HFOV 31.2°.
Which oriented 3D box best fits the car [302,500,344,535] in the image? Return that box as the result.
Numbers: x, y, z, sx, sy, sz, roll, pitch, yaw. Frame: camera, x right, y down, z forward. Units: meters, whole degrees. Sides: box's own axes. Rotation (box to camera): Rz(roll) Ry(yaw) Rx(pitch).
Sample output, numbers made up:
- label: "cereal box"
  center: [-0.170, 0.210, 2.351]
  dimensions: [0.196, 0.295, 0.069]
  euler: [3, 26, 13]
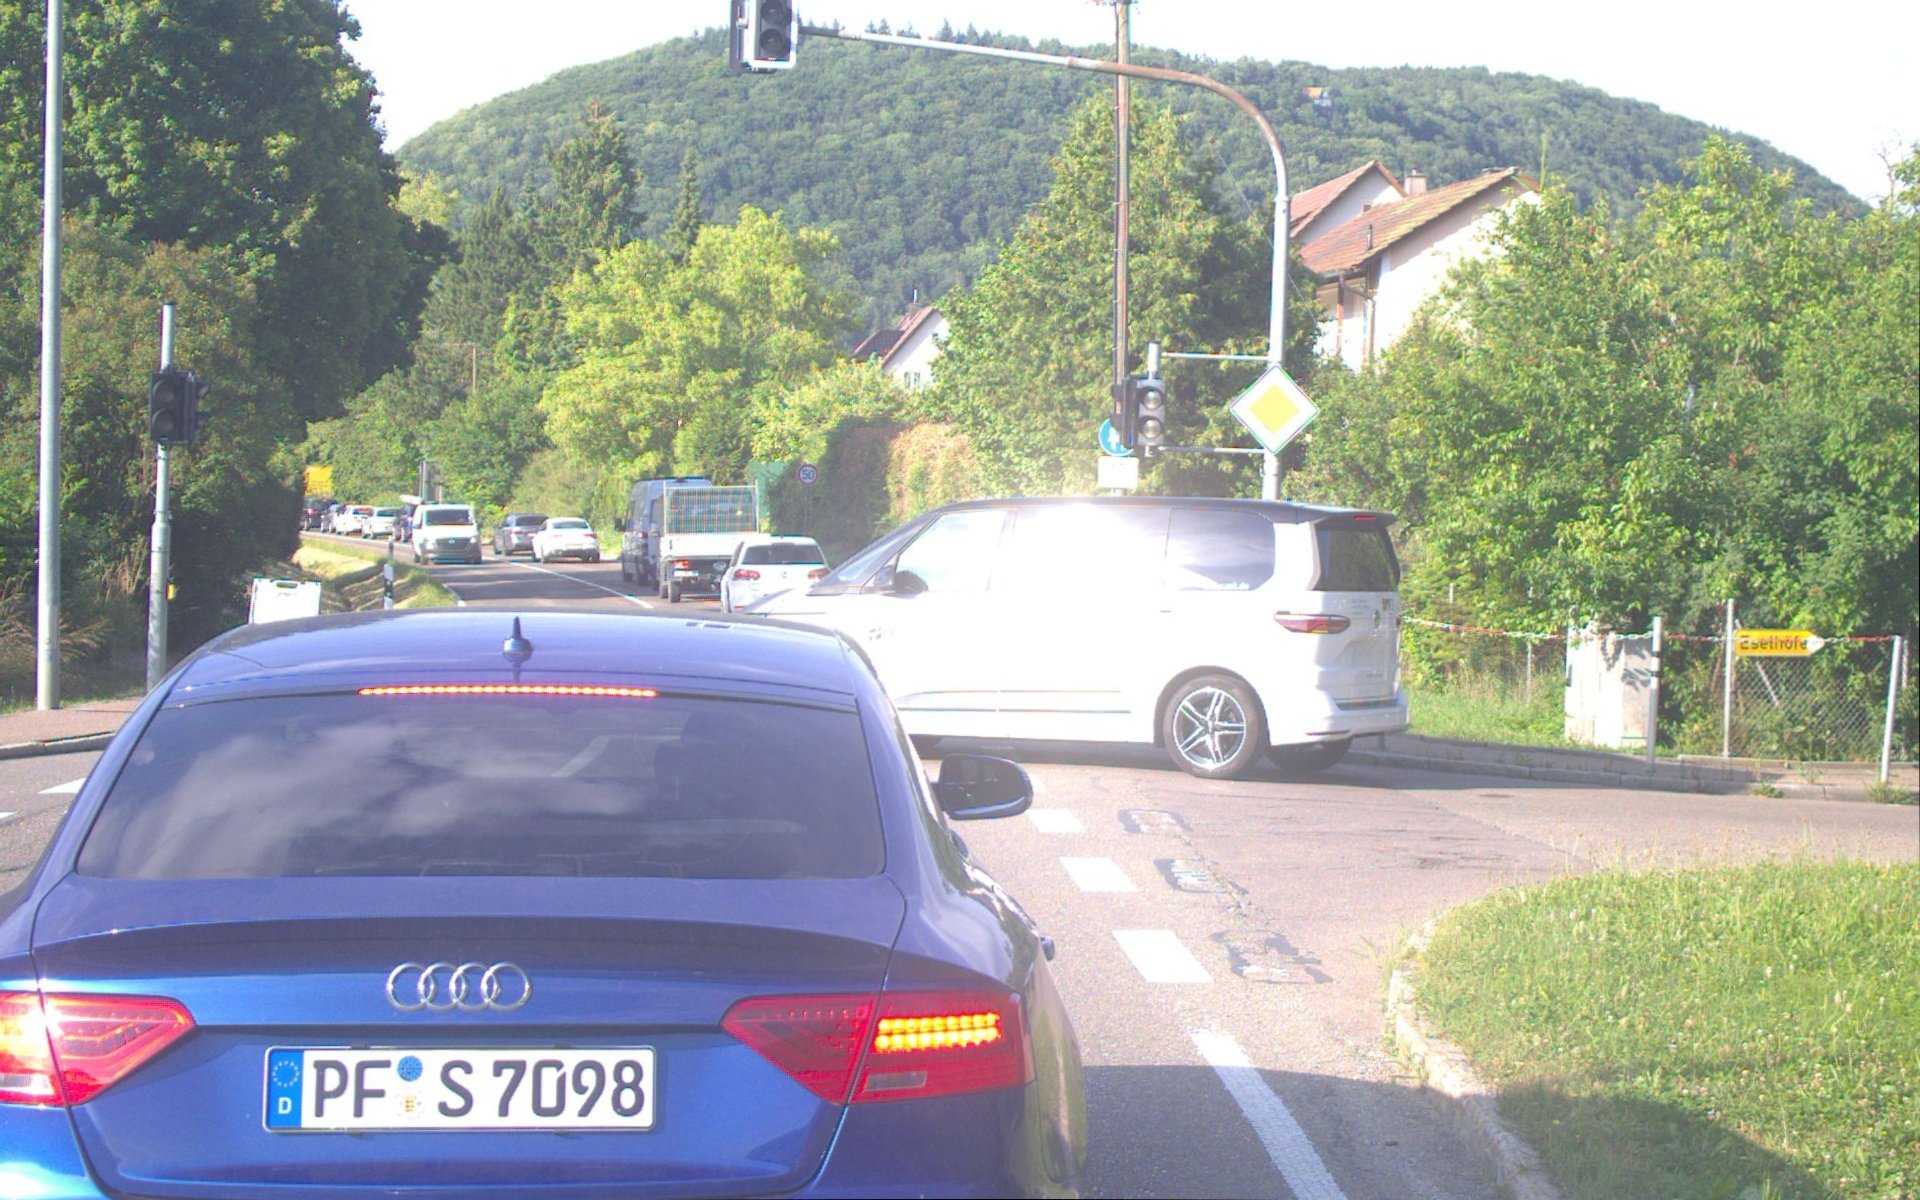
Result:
- label: "car"
  center: [-32.917, -4.249, 177.584]
  dimensions: [1.771, 1.776, 4.001]
  euler: [-1, 1, -16]

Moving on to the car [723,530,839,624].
- label: "car"
  center: [-2.880, -0.406, 55.976]
  dimensions: [1.771, 1.410, 4.174]
  euler: [2, 1, -2]

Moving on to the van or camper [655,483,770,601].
- label: "van or camper"
  center: [-5.231, -1.239, 71.953]
  dimensions: [2.179, 2.377, 5.371]
  euler: [0, 2, -6]

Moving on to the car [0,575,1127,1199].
- label: "car"
  center: [-0.781, 0.695, 6.489]
  dimensions: [1.829, 1.404, 4.227]
  euler: [-1, 1, -2]

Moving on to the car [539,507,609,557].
- label: "car"
  center: [-12.359, -2.173, 109.815]
  dimensions: [1.819, 1.546, 4.001]
  euler: [-1, 1, -12]

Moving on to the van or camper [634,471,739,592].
- label: "van or camper"
  center: [-6.864, -1.740, 85.730]
  dimensions: [2.414, 2.894, 6.133]
  euler: [0, 2, -6]

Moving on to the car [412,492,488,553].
- label: "car"
  center: [-16.400, -2.498, 110.427]
  dimensions: [1.993, 1.897, 5.255]
  euler: [-1, 2, -13]

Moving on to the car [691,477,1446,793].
- label: "car"
  center: [0.752, 0.180, 24.246]
  dimensions: [4.861, 1.870, 1.997]
  euler: [3, 2, 24]

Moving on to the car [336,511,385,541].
- label: "car"
  center: [-28.815, -3.567, 165.268]
  dimensions: [1.941, 1.419, 4.001]
  euler: [0, 2, -16]

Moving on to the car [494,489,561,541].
- label: "car"
  center: [-15.244, -3.003, 121.153]
  dimensions: [1.796, 1.787, 4.001]
  euler: [-1, 1, -15]

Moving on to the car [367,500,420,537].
- label: "car"
  center: [-25.762, -3.701, 156.305]
  dimensions: [1.941, 1.678, 4.001]
  euler: [-1, 1, -16]

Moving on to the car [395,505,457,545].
- label: "car"
  center: [-22.995, -3.224, 147.970]
  dimensions: [2.040, 1.678, 4.001]
  euler: [0, 2, -18]
